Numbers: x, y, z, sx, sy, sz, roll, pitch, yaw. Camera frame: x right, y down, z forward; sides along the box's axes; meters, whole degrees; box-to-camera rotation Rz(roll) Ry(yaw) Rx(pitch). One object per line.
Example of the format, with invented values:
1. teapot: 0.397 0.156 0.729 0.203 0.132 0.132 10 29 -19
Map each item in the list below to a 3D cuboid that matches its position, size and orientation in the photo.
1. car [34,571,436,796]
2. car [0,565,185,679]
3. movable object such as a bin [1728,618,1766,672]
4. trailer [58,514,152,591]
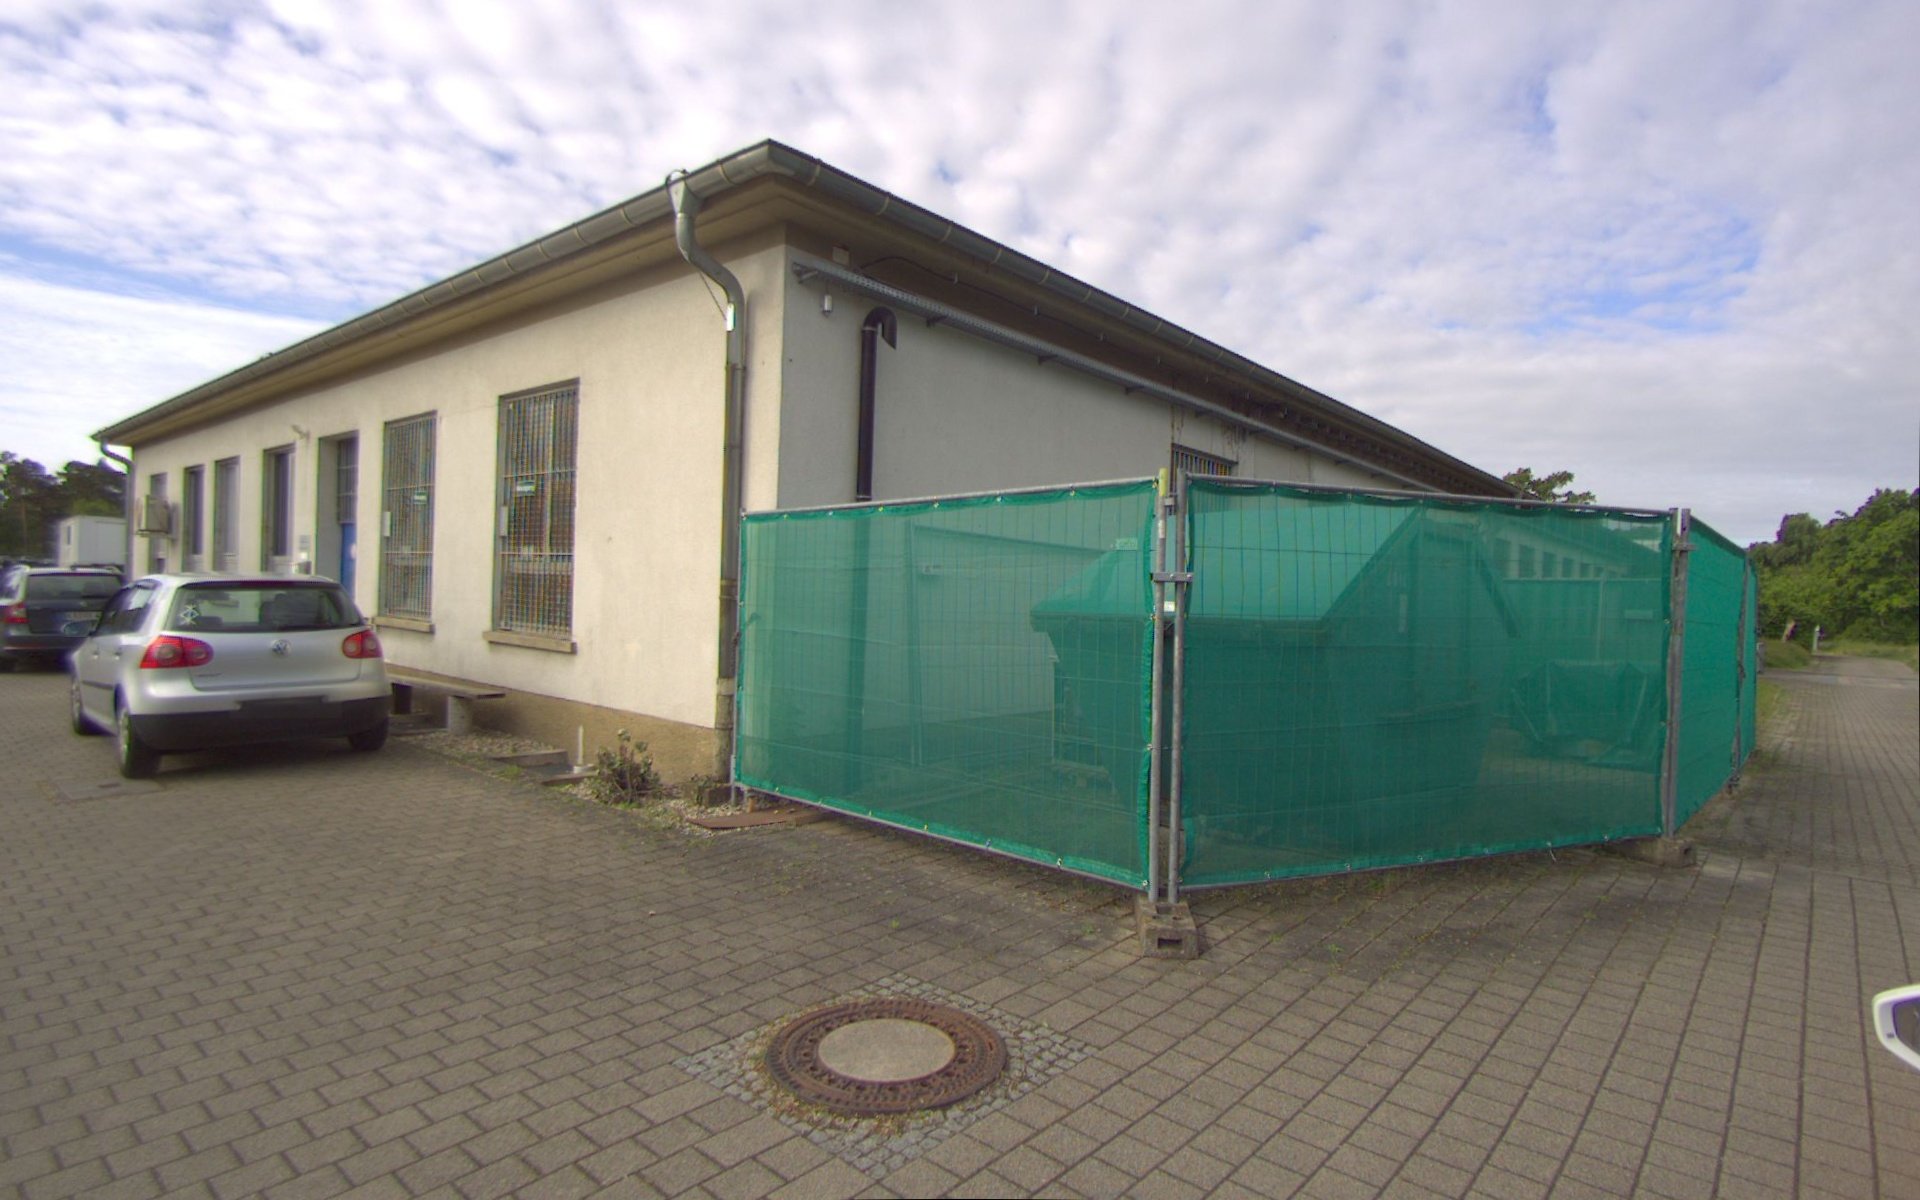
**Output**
1. car: -6.519 0.526 8.840 4.303 1.458 1.921 2 1 41
2. car: -13.658 0.245 15.373 4.739 1.480 1.921 2 0 41
3. movable object such as a bin: 30.099 1.698 38.424 0.846 2.008 0.928 2 0 -39
4. trailer: -46.997 -2.541 55.042 10.628 3.711 2.861 2 0 44
